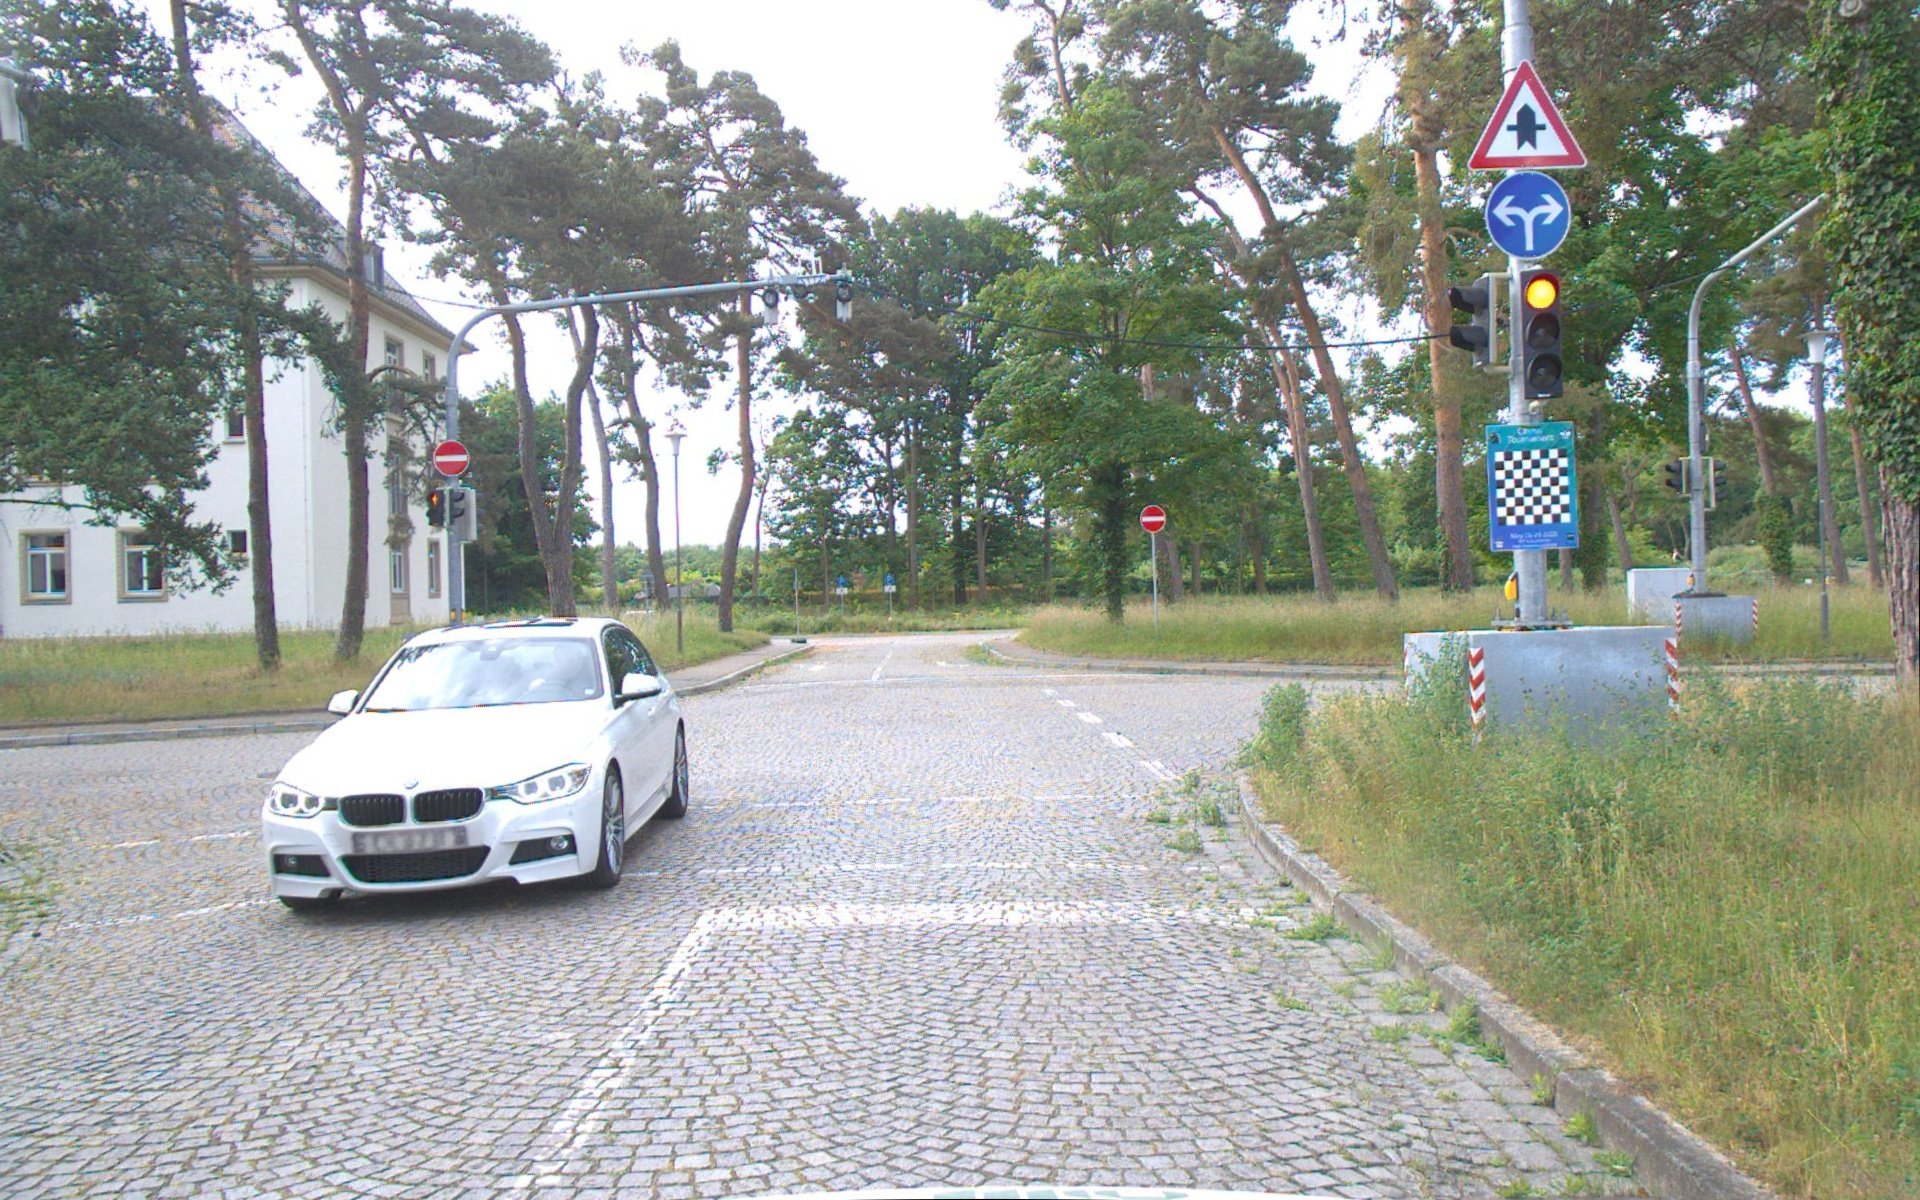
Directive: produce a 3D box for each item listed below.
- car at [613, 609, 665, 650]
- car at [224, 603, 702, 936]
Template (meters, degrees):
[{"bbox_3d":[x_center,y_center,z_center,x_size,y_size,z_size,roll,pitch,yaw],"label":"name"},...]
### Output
[{"bbox_3d":[-15.352,1.376,79.261,1.954,1.878,3.996,0,0,-4],"label":"car"},{"bbox_3d":[-2.748,0.828,10.183,1.738,1.463,4.216,-4,0,-3],"label":"car"}]
